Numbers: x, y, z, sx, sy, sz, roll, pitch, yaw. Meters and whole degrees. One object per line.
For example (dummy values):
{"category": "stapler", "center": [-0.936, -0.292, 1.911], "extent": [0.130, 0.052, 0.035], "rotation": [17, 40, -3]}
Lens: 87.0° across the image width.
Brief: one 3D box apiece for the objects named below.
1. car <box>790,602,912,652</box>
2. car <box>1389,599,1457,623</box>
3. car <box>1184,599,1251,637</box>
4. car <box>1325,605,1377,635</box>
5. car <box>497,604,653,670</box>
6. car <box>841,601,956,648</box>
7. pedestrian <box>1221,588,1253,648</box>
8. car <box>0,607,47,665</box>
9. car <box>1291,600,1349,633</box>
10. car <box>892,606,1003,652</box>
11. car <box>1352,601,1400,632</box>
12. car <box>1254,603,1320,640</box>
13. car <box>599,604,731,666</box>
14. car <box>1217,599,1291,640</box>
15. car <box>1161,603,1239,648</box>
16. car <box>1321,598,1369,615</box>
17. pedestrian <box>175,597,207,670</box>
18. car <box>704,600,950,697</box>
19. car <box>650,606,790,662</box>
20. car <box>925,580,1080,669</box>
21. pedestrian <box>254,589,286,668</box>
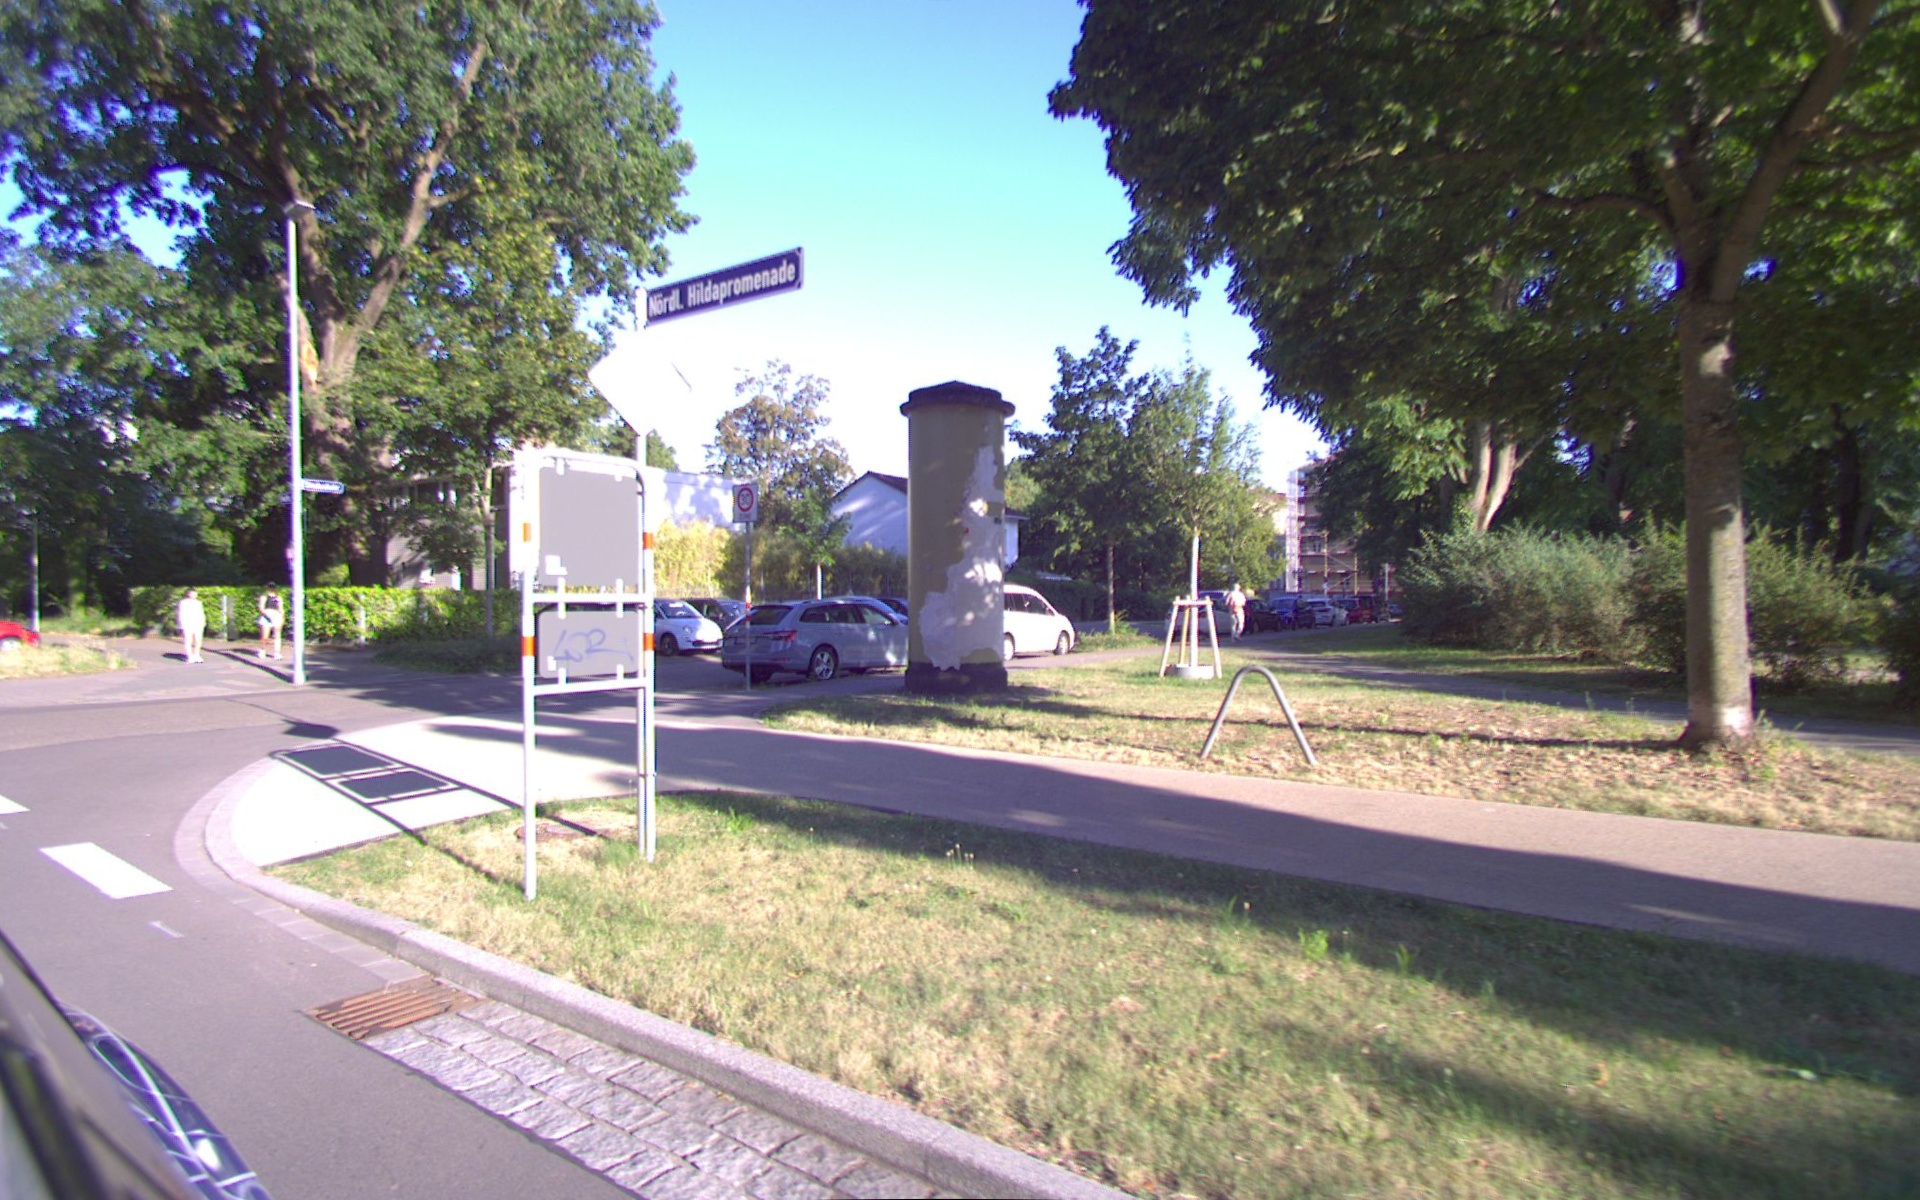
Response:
{"category": "car", "center": [-3.704, 0.857, 34.298], "extent": [3.912, 1.549, 1.726], "rotation": [1, 0, 33]}
{"category": "car", "center": [35.694, 0.833, 78.145], "extent": [2.246, 1.696, 4.527], "rotation": [3, -2, -20]}
{"category": "car", "center": [13.950, 0.941, 54.634], "extent": [2.056, 1.945, 4.395], "rotation": [-1, -1, 35]}
{"category": "car", "center": [20.940, 1.051, 54.135], "extent": [1.714, 1.520, 3.635], "rotation": [-1, -1, 35]}
{"category": "car", "center": [-9.638, 0.884, 25.235], "extent": [3.989, 1.527, 1.627], "rotation": [-1, 0, 34]}
{"category": "car", "center": [-2.239, 0.846, 36.540], "extent": [3.912, 1.549, 1.726], "rotation": [1, 0, 33]}
{"category": "pedestrian", "center": [8.148, 0.523, 29.763], "extent": [0.715, 1.750, 0.739], "rotation": [-1, 0, 35]}
{"category": "car", "center": [-24.977, 0.894, 24.748], "extent": [1.713, 1.431, 3.639], "rotation": [-1, 0, 33]}
{"category": "car", "center": [17.380, 0.797, 48.792], "extent": [1.714, 1.520, 3.635], "rotation": [-1, -1, 35]}
{"category": "car", "center": [-0.496, 1.057, 38.174], "extent": [3.912, 1.549, 1.726], "rotation": [1, 0, 33]}
{"category": "car", "center": [23.820, 0.934, 57.901], "extent": [1.714, 1.696, 3.635], "rotation": [-1, -1, 35]}
{"category": "car", "center": [14.273, 0.921, 44.043], "extent": [1.714, 1.520, 3.635], "rotation": [-1, -1, 35]}
{"category": "car", "center": [-7.945, 0.890, 27.204], "extent": [3.346, 1.502, 1.619], "rotation": [1, 0, 33]}
{"category": "car", "center": [11.641, 0.739, 40.000], "extent": [1.714, 1.520, 3.635], "rotation": [-1, -1, 35]}
{"category": "car", "center": [8.538, 0.871, 35.855], "extent": [1.712, 1.520, 3.273], "rotation": [-1, -1, 32]}
{"category": "car", "center": [37.672, 0.639, 99.024], "extent": [3.996, 1.586, 1.804], "rotation": [-1, -1, 40]}
{"category": "pedestrian", "center": [-17.092, 0.738, 22.486], "extent": [0.665, 1.593, 0.430], "rotation": [-1, -1, 39]}
{"category": "car", "center": [-2.319, 0.805, 18.974], "extent": [1.863, 1.570, 4.781], "rotation": [-1, -1, 34]}
{"category": "car", "center": [-7.072, 0.936, 29.685], "extent": [4.092, 1.468, 1.789], "rotation": [1, 0, 37]}
{"category": "car", "center": [1.106, 0.548, 24.306], "extent": [1.758, 1.931, 4.189], "rotation": [-1, -1, 34]}
{"category": "pedestrian", "center": [-15.841, 0.647, 23.238], "extent": [0.665, 1.788, 0.430], "rotation": [-1, -1, 39]}
